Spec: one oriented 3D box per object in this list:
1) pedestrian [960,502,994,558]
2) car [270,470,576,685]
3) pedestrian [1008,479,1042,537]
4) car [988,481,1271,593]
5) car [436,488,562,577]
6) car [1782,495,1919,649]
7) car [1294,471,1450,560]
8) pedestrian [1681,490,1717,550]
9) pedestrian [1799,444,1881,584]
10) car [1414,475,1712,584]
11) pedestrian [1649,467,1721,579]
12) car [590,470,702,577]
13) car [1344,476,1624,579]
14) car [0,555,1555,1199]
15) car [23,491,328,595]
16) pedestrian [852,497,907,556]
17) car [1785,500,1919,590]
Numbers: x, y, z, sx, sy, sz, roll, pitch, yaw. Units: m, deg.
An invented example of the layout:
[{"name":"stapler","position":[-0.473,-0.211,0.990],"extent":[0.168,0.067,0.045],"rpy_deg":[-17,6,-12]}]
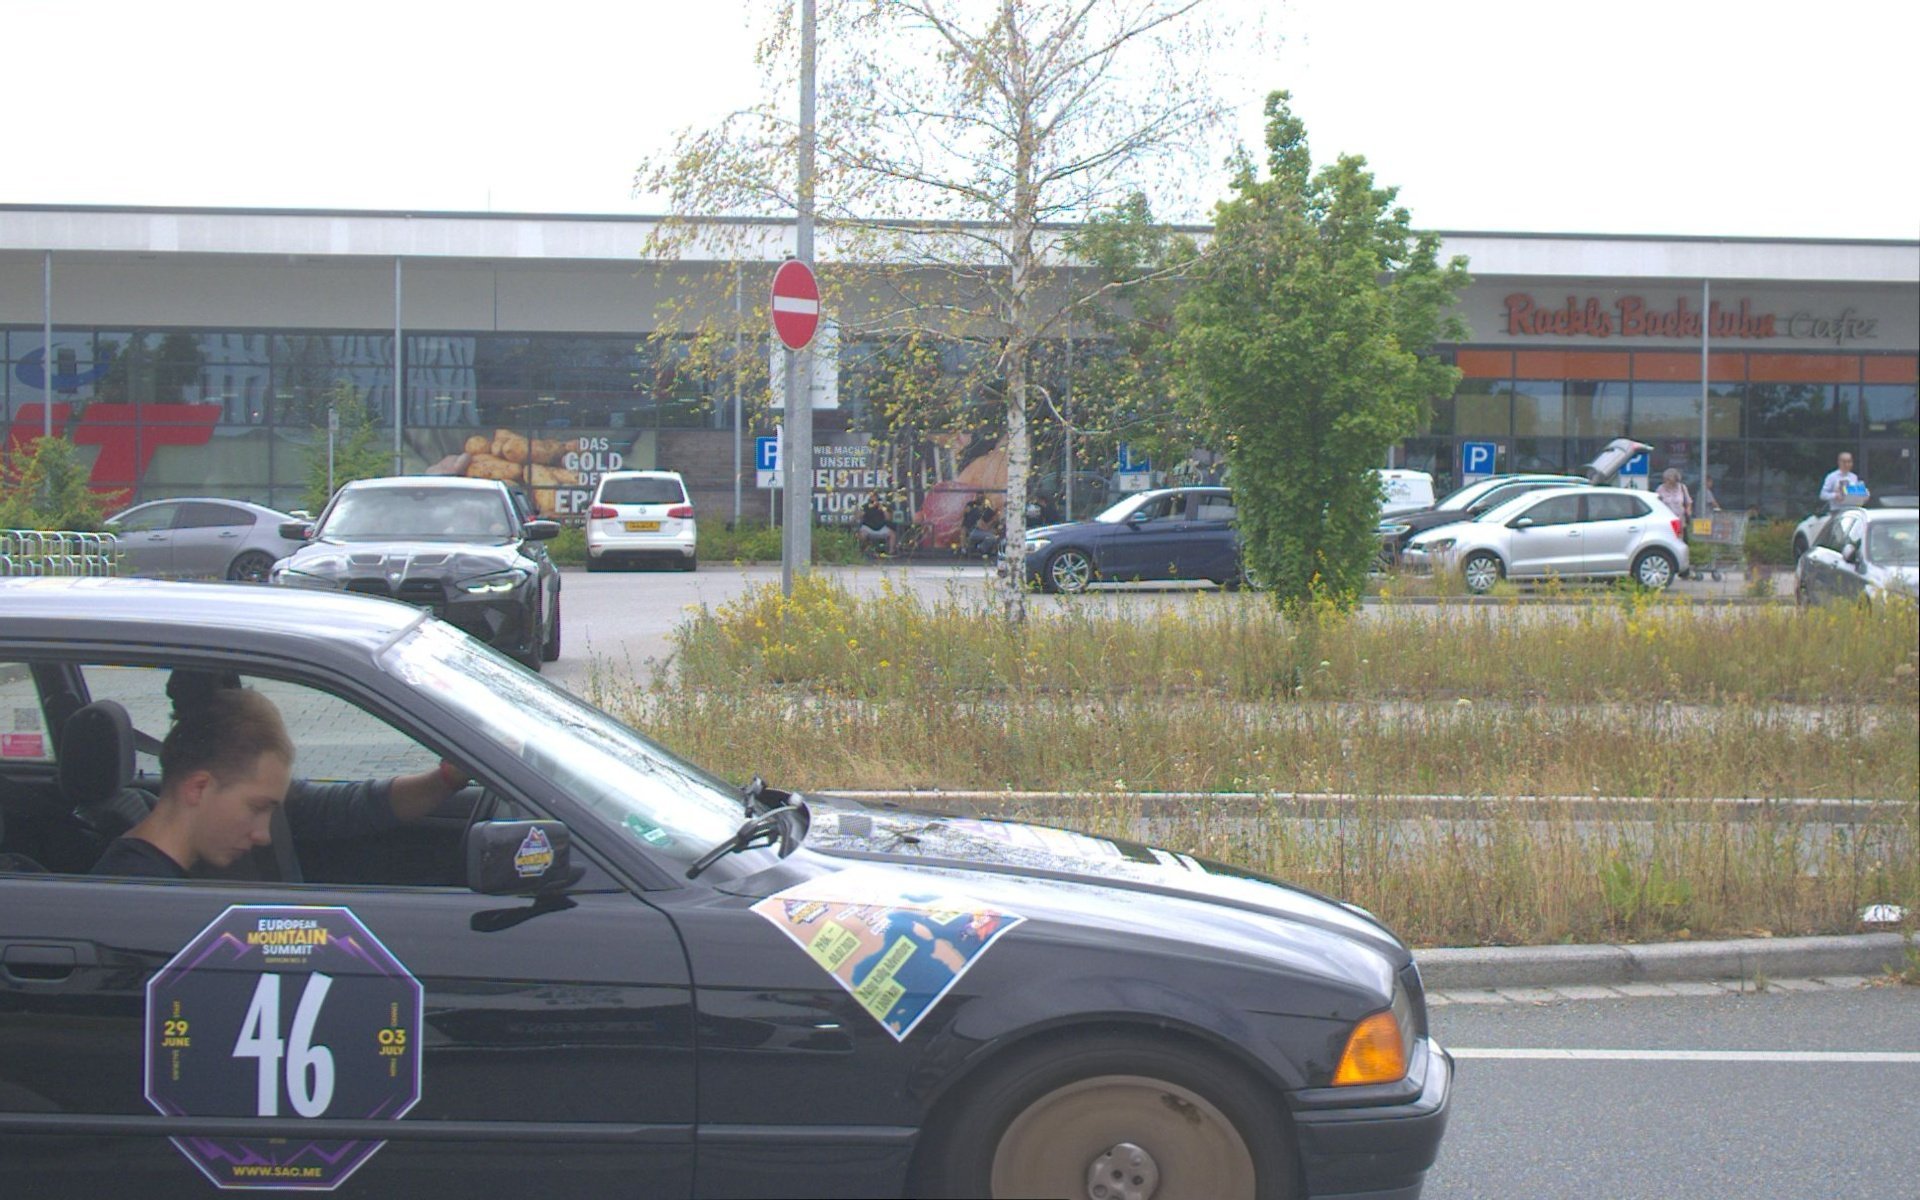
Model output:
[{"name":"pedestrian","position":[0.344,-1.405,68.973],"extent":[0.576,1.120,0.562],"rpy_deg":[0,2,-10]},{"name":"car","position":[-3.891,-0.225,25.580],"extent":[1.779,1.440,4.611],"rpy_deg":[1,2,-3]},{"name":"pedestrian","position":[1.290,-1.825,68.097],"extent":[0.576,1.120,0.562],"rpy_deg":[0,2,-10]},{"name":"car","position":[2.298,-0.875,47.054],"extent":[3.606,1.449,1.668],"rpy_deg":[0,2,-7]},{"name":"car","position":[-7.912,-1.192,59.272],"extent":[1.906,1.439,4.001],"rpy_deg":[0,2,-4]},{"name":"car","position":[9.377,-0.297,33.100],"extent":[1.988,1.379,4.150],"rpy_deg":[1,2,1]},{"name":"car","position":[7.291,-1.532,61.254],"extent":[1.993,1.503,4.001],"rpy_deg":[0,2,-4]},{"name":"pedestrian","position":[14.862,-1.604,69.160],"extent":[0.560,1.197,0.528],"rpy_deg":[0,2,-6]},{"name":"pedestrian","position":[12.813,-1.257,50.064],"extent":[0.865,2.006,1.004],"rpy_deg":[1,2,-2]},{"name":"car","position":[8.385,-0.993,47.956],"extent":[3.746,1.449,1.668],"rpy_deg":[1,2,-6]},{"name":"pedestrian","position":[10.743,-1.145,50.982],"extent":[0.821,1.626,0.899],"rpy_deg":[1,2,-1]},{"name":"car","position":[-5.408,-1.357,59.524],"extent":[1.824,1.694,4.235],"rpy_deg":[0,3,-4]},{"name":"car","position":[7.703,-1.080,50.733],"extent":[3.746,1.449,1.668],"rpy_deg":[1,2,-6]},{"name":"car","position":[-1.231,0.638,6.429],"extent":[4.286,1.381,1.759],"rpy_deg":[0,2,-5]},{"name":"car","position":[-10.849,-0.798,47.772],"extent":[3.986,1.347,2.001],"rpy_deg":[1,2,-9]},{"name":"pedestrian","position":[-1.630,-1.479,69.269],"extent":[0.970,1.150,1.133],"rpy_deg":[0,2,-8]},{"name":"car","position":[16.535,-1.023,62.117],"extent":[1.993,1.503,4.001],"rpy_deg":[1,2,-4]}]
